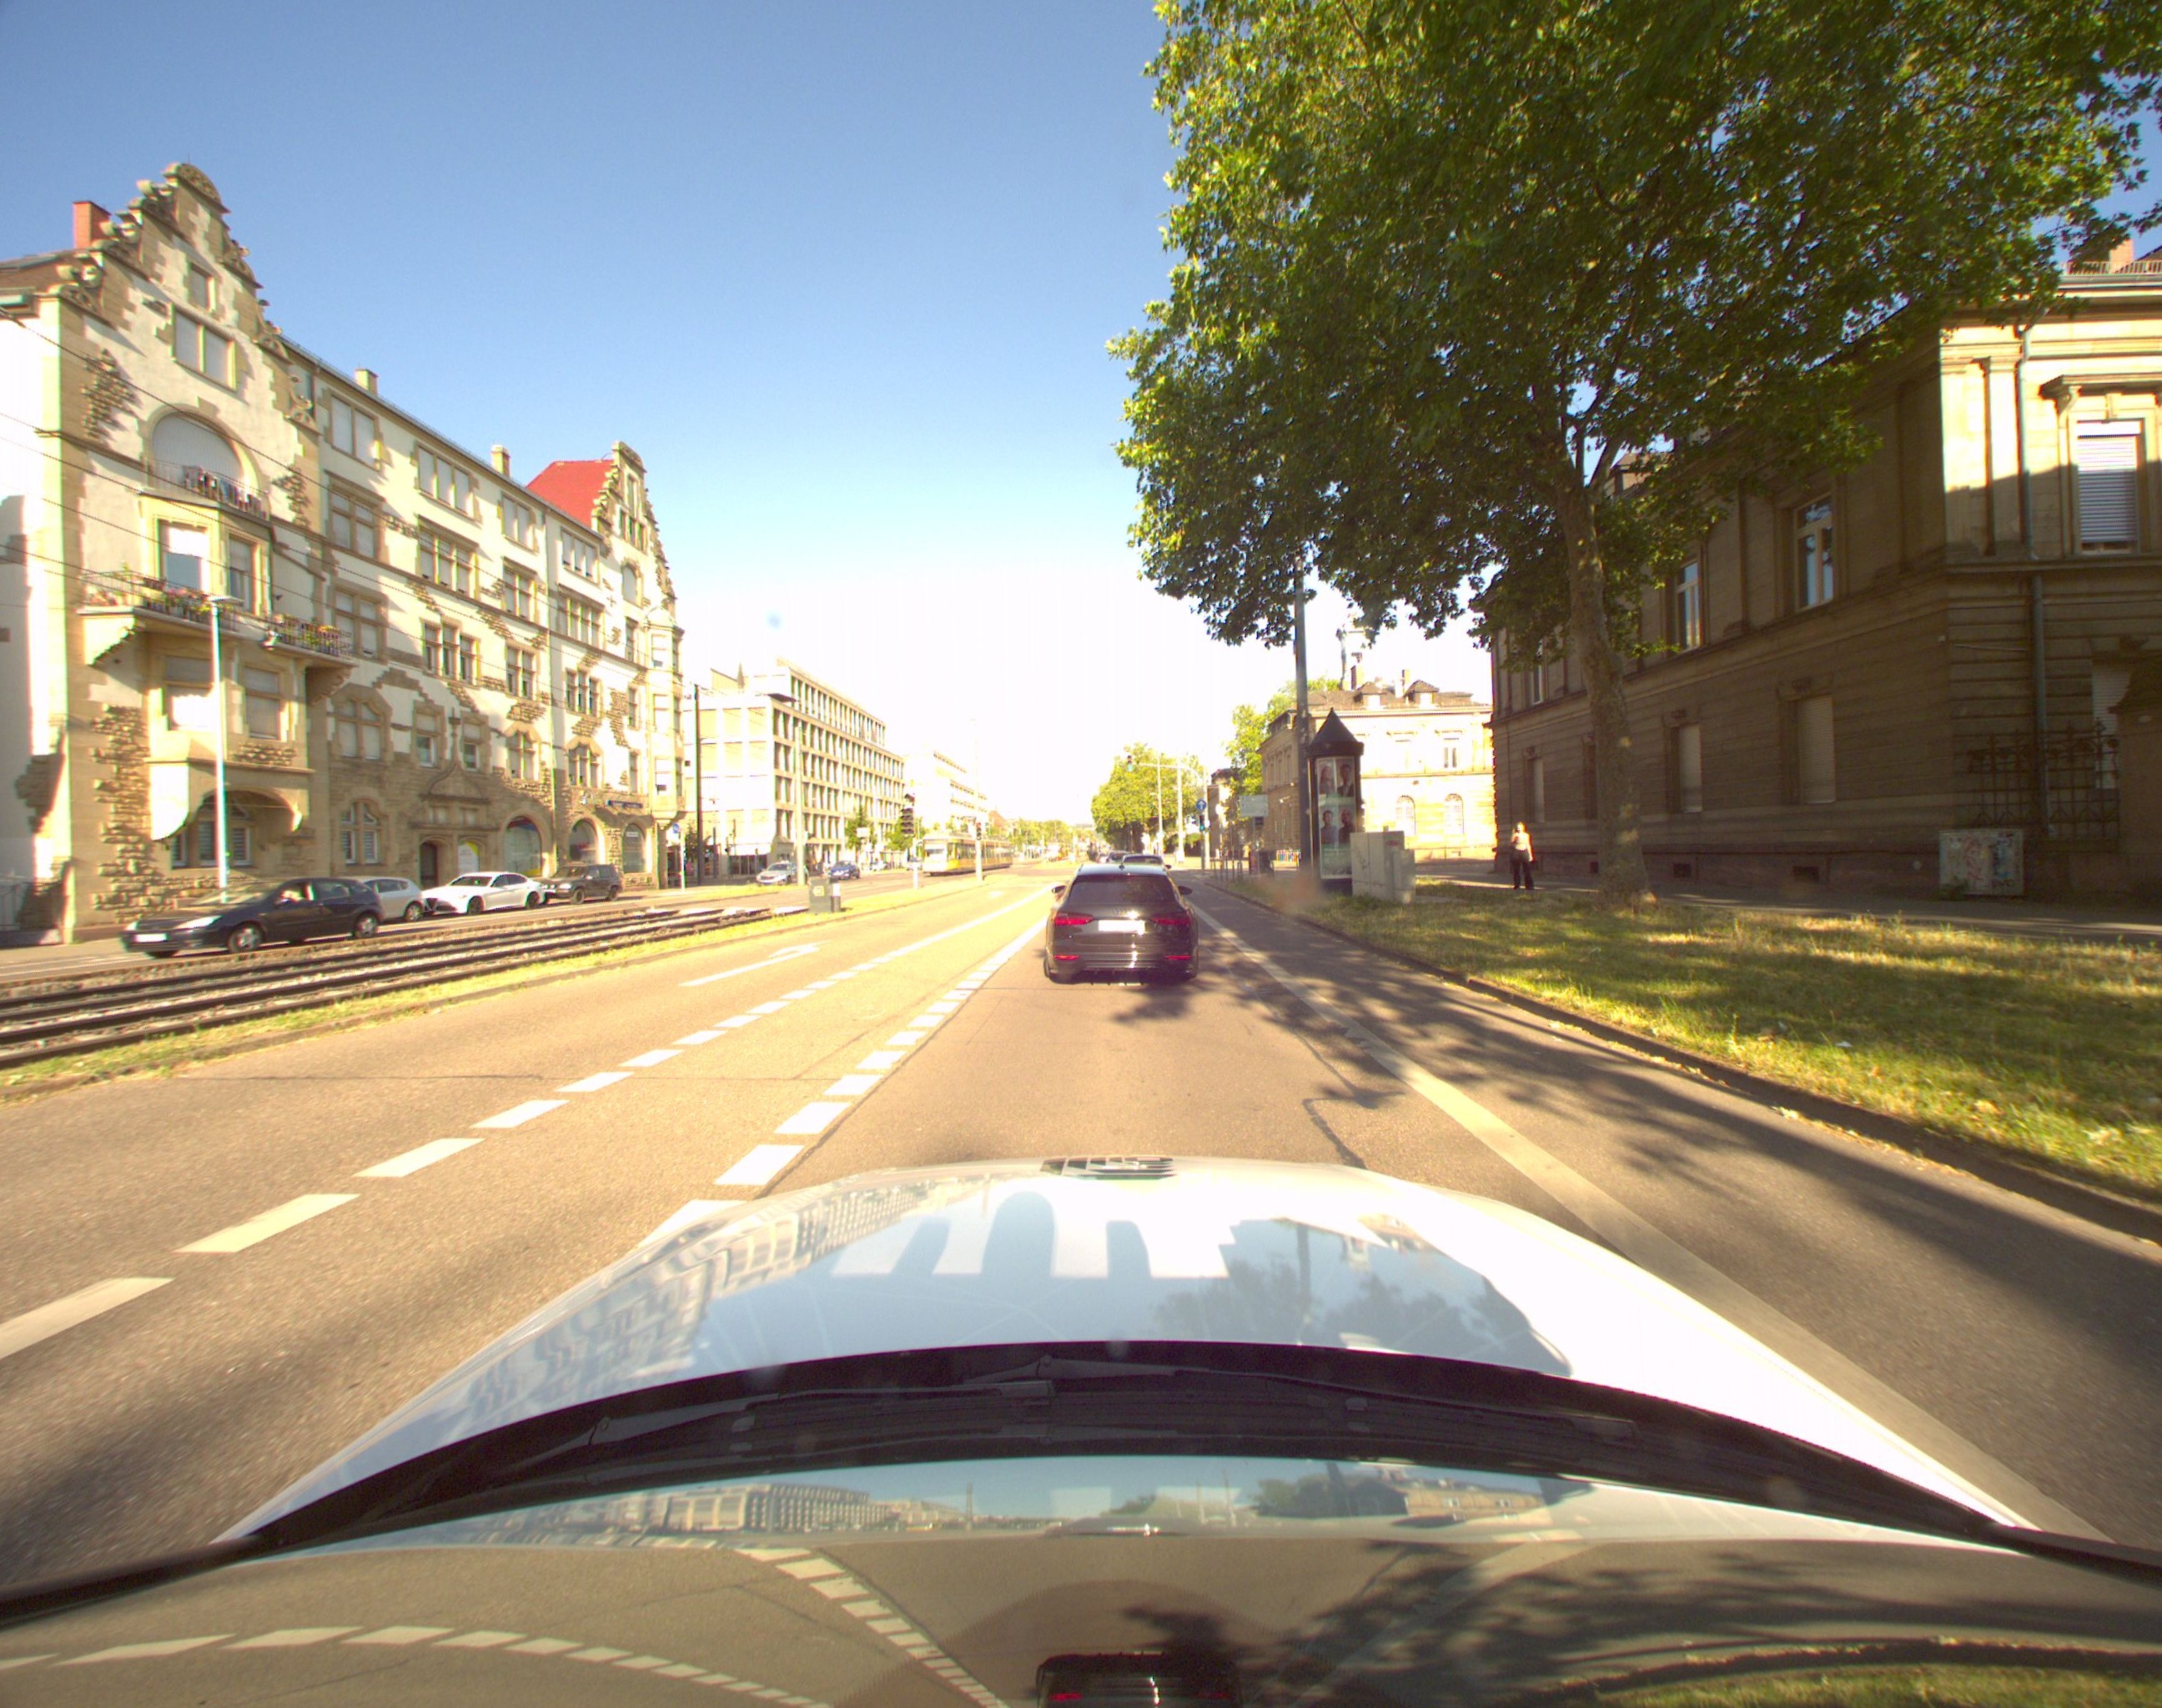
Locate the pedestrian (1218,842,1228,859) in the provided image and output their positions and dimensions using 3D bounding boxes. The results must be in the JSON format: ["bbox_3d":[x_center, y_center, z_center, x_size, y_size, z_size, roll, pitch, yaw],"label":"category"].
[{"bbox_3d":[15.635,-0.369,89.730,0.974,1.865,0.828,-2,0,4],"label":"pedestrian"}]

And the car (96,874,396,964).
[{"bbox_3d":[-16.854,1.225,16.814,1.814,1.457,4.166,-2,0,1],"label":"car"}]

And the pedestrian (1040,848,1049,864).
[{"bbox_3d":[-4.125,0.247,91.830,0.742,1.741,0.659,-2,0,-19],"label":"pedestrian"}]

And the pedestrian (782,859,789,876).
[{"bbox_3d":[-31.307,1.423,86.352,0.535,1.843,0.438,-2,0,-36],"label":"pedestrian"}]

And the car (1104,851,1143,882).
[{"bbox_3d":[2.128,0.576,41.052,1.895,1.486,4.147,0,0,2],"label":"car"}]

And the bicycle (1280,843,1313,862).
[{"bbox_3d":[15.753,-0.111,59.568,2.130,1.209,0.765,-3,0,0],"label":"bicycle"}]

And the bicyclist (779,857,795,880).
[{"bbox_3d":[-19.892,0.985,55.120,0.682,1.563,0.786,-2,0,3],"label":"bicyclist"}]

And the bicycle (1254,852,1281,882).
[{"bbox_3d":[7.051,0.478,30.820,0.538,1.061,1.770,-2,0,-1],"label":"bicycle"}]

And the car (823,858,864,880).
[{"bbox_3d":[-17.597,1.105,60.471,1.814,1.457,4.155,-2,0,-1],"label":"car"}]

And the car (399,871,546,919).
[{"bbox_3d":[-21.543,1.399,29.097,1.711,1.423,4.656,0,0,0],"label":"car"}]

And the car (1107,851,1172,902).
[{"bbox_3d":[1.817,0.653,26.046,1.895,1.486,4.147,0,0,2],"label":"car"}]

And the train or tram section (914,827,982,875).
[{"bbox_3d":[-10.568,-0.251,66.604,2.802,3.489,13.210,-2,0,2],"label":"train or tram section"}]

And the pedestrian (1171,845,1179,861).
[{"bbox_3d":[9.884,-0.092,85.861,0.679,1.660,0.758,-2,0,0],"label":"pedestrian"}]

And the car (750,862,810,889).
[{"bbox_3d":[-17.774,1.236,48.304,1.814,1.457,4.538,-2,0,-1],"label":"car"}]

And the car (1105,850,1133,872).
[{"bbox_3d":[2.665,0.452,57.349,1.895,1.486,4.147,0,0,2],"label":"car"}]

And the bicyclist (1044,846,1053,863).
[{"bbox_3d":[-3.642,0.058,90.351,0.758,1.818,0.760,-2,0,-18],"label":"bicyclist"}]

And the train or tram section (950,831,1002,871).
[{"bbox_3d":[-10.069,-0.298,79.795,2.802,3.489,13.210,-2,0,2],"label":"train or tram section"}]

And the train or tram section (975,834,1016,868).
[{"bbox_3d":[-9.571,-0.338,92.477,2.802,3.489,12.160,-2,0,2],"label":"train or tram section"}]

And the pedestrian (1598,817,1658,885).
[{"bbox_3d":[13.350,-0.070,19.909,0.766,1.606,0.987,-2,0,3],"label":"pedestrian"}]

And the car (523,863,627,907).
[{"bbox_3d":[-21.340,1.264,34.566,1.711,1.675,4.217,0,0,0],"label":"car"}]

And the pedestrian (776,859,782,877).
[{"bbox_3d":[-31.919,1.480,86.052,0.475,1.843,0.438,-2,0,-36],"label":"pedestrian"}]

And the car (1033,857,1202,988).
[{"bbox_3d":[0.506,0.777,11.243,1.895,1.421,4.147,0,0,2],"label":"car"}]

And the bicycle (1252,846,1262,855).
[{"bbox_3d":[21.212,-0.398,98.225,0.525,1.047,2.354,-2,0,-6],"label":"bicycle"}]

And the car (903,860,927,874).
[{"bbox_3d":[-18.992,1.416,93.170,1.814,1.457,4.156,-2,0,0],"label":"car"}]

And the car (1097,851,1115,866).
[{"bbox_3d":[2.637,0.425,85.069,1.895,1.486,4.147,0,0,2],"label":"car"}]

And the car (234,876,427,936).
[{"bbox_3d":[-21.510,1.427,23.617,1.704,1.431,4.222,0,0,0],"label":"car"}]

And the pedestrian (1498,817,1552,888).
[{"bbox_3d":[11.152,-0.029,20.484,0.766,1.709,1.043,-2,0,3],"label":"pedestrian"}]

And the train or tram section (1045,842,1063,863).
[{"bbox_3d":[-4.633,-0.284,142.991,2.600,3.450,11.132,-2,0,0],"label":"train or tram section"}]

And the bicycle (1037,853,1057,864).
[{"bbox_3d":[-3.742,0.526,90.301,2.011,1.108,0.760,-2,0,-18],"label":"bicycle"}]
